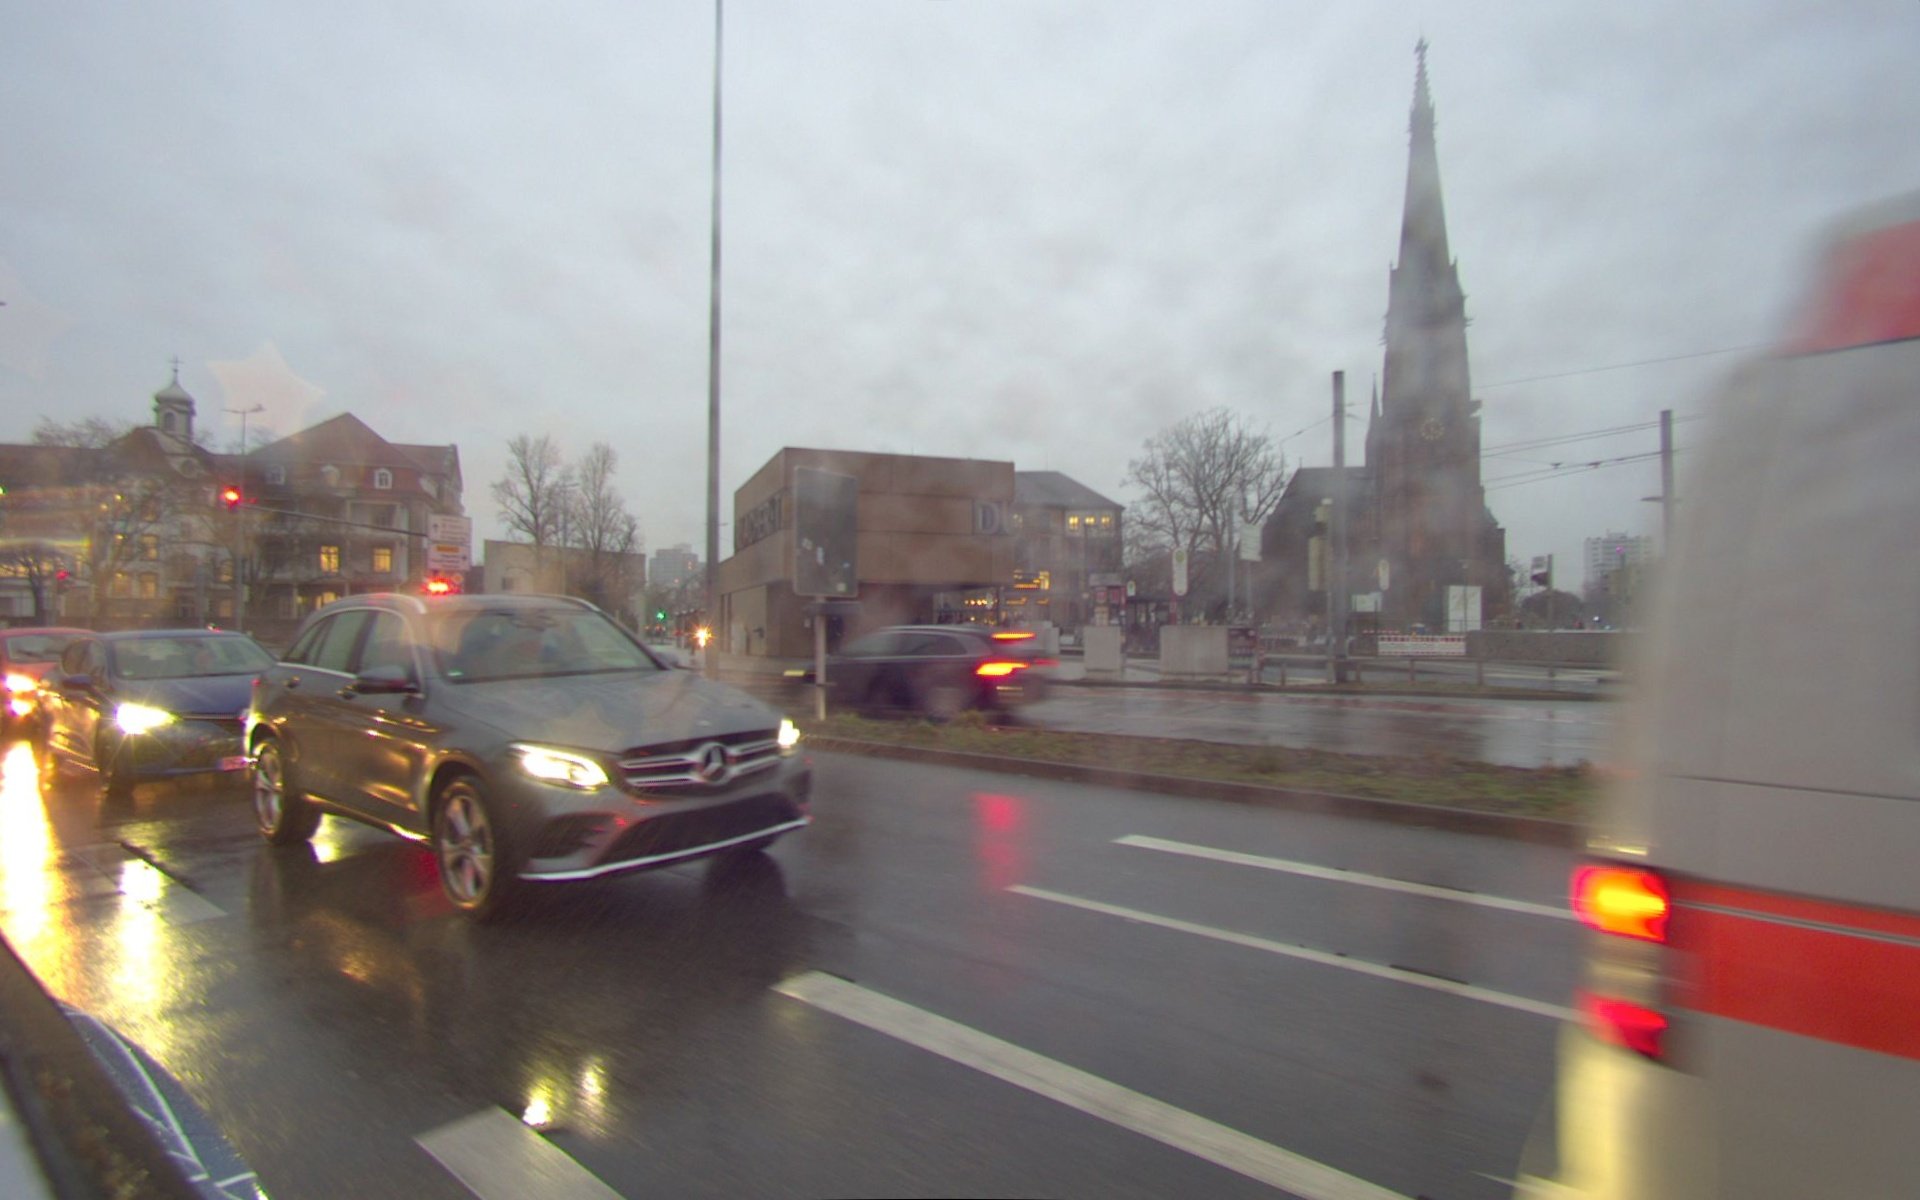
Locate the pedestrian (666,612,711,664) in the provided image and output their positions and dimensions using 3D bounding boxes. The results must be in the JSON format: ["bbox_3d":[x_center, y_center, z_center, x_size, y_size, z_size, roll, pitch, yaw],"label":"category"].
[{"bbox_3d":[-10.061,1.425,37.584,1.224,1.872,1.029,-3,-3,18],"label":"pedestrian"}]

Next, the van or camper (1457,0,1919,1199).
[{"bbox_3d":[3.302,0.274,0.587,4.987,2.125,2.178,-1,-1,43],"label":"van or camper"}]

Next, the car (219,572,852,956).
[{"bbox_3d":[-2.918,0.713,6.389,4.537,1.613,1.767,-1,0,40],"label":"car"}]

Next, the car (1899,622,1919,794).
[{"bbox_3d":[10.204,0.877,7.635,4.446,1.383,1.655,-1,0,40],"label":"car"}]

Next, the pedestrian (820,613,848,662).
[{"bbox_3d":[-4.712,1.406,37.966,0.828,1.781,0.657,-1,-3,23],"label":"pedestrian"}]

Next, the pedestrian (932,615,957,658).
[{"bbox_3d":[-0.634,1.489,41.261,0.740,1.739,0.735,-1,-3,29],"label":"pedestrian"}]

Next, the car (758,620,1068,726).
[{"bbox_3d":[-0.846,1.045,15.970,4.811,1.430,1.790,-1,-1,35],"label":"car"}]

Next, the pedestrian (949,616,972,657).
[{"bbox_3d":[0.012,1.573,43.664,0.741,1.739,0.735,-1,-3,31],"label":"pedestrian"}]

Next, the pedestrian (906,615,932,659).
[{"bbox_3d":[-1.657,1.492,40.499,0.731,1.739,0.745,2,-3,-42],"label":"pedestrian"}]

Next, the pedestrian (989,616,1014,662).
[{"bbox_3d":[1.591,1.510,39.012,0.757,1.764,0.795,-1,-3,22],"label":"pedestrian"}]

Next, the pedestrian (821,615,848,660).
[{"bbox_3d":[-4.889,1.458,39.493,0.731,1.739,0.745,2,-3,-42],"label":"pedestrian"}]

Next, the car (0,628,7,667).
[{"bbox_3d":[-41.694,1.941,40.961,1.812,1.656,4.819,0,-2,-2],"label":"car"}]

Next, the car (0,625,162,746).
[{"bbox_3d":[-13.456,1.162,14.866,3.863,1.493,1.686,-2,0,35],"label":"car"}]

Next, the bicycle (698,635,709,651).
[{"bbox_3d":[-18.921,3.199,74.540,0.636,1.113,2.759,-1,-3,-17],"label":"bicycle"}]

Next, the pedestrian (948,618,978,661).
[{"bbox_3d":[0.109,1.537,39.092,0.841,1.615,0.968,1,-3,-21],"label":"pedestrian"}]

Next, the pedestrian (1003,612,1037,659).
[{"bbox_3d":[2.508,1.483,42.227,1.104,1.933,1.066,1,-3,-18],"label":"pedestrian"}]

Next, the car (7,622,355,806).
[{"bbox_3d":[-7.722,0.955,9.910,4.112,1.414,1.644,-1,0,37],"label":"car"}]
